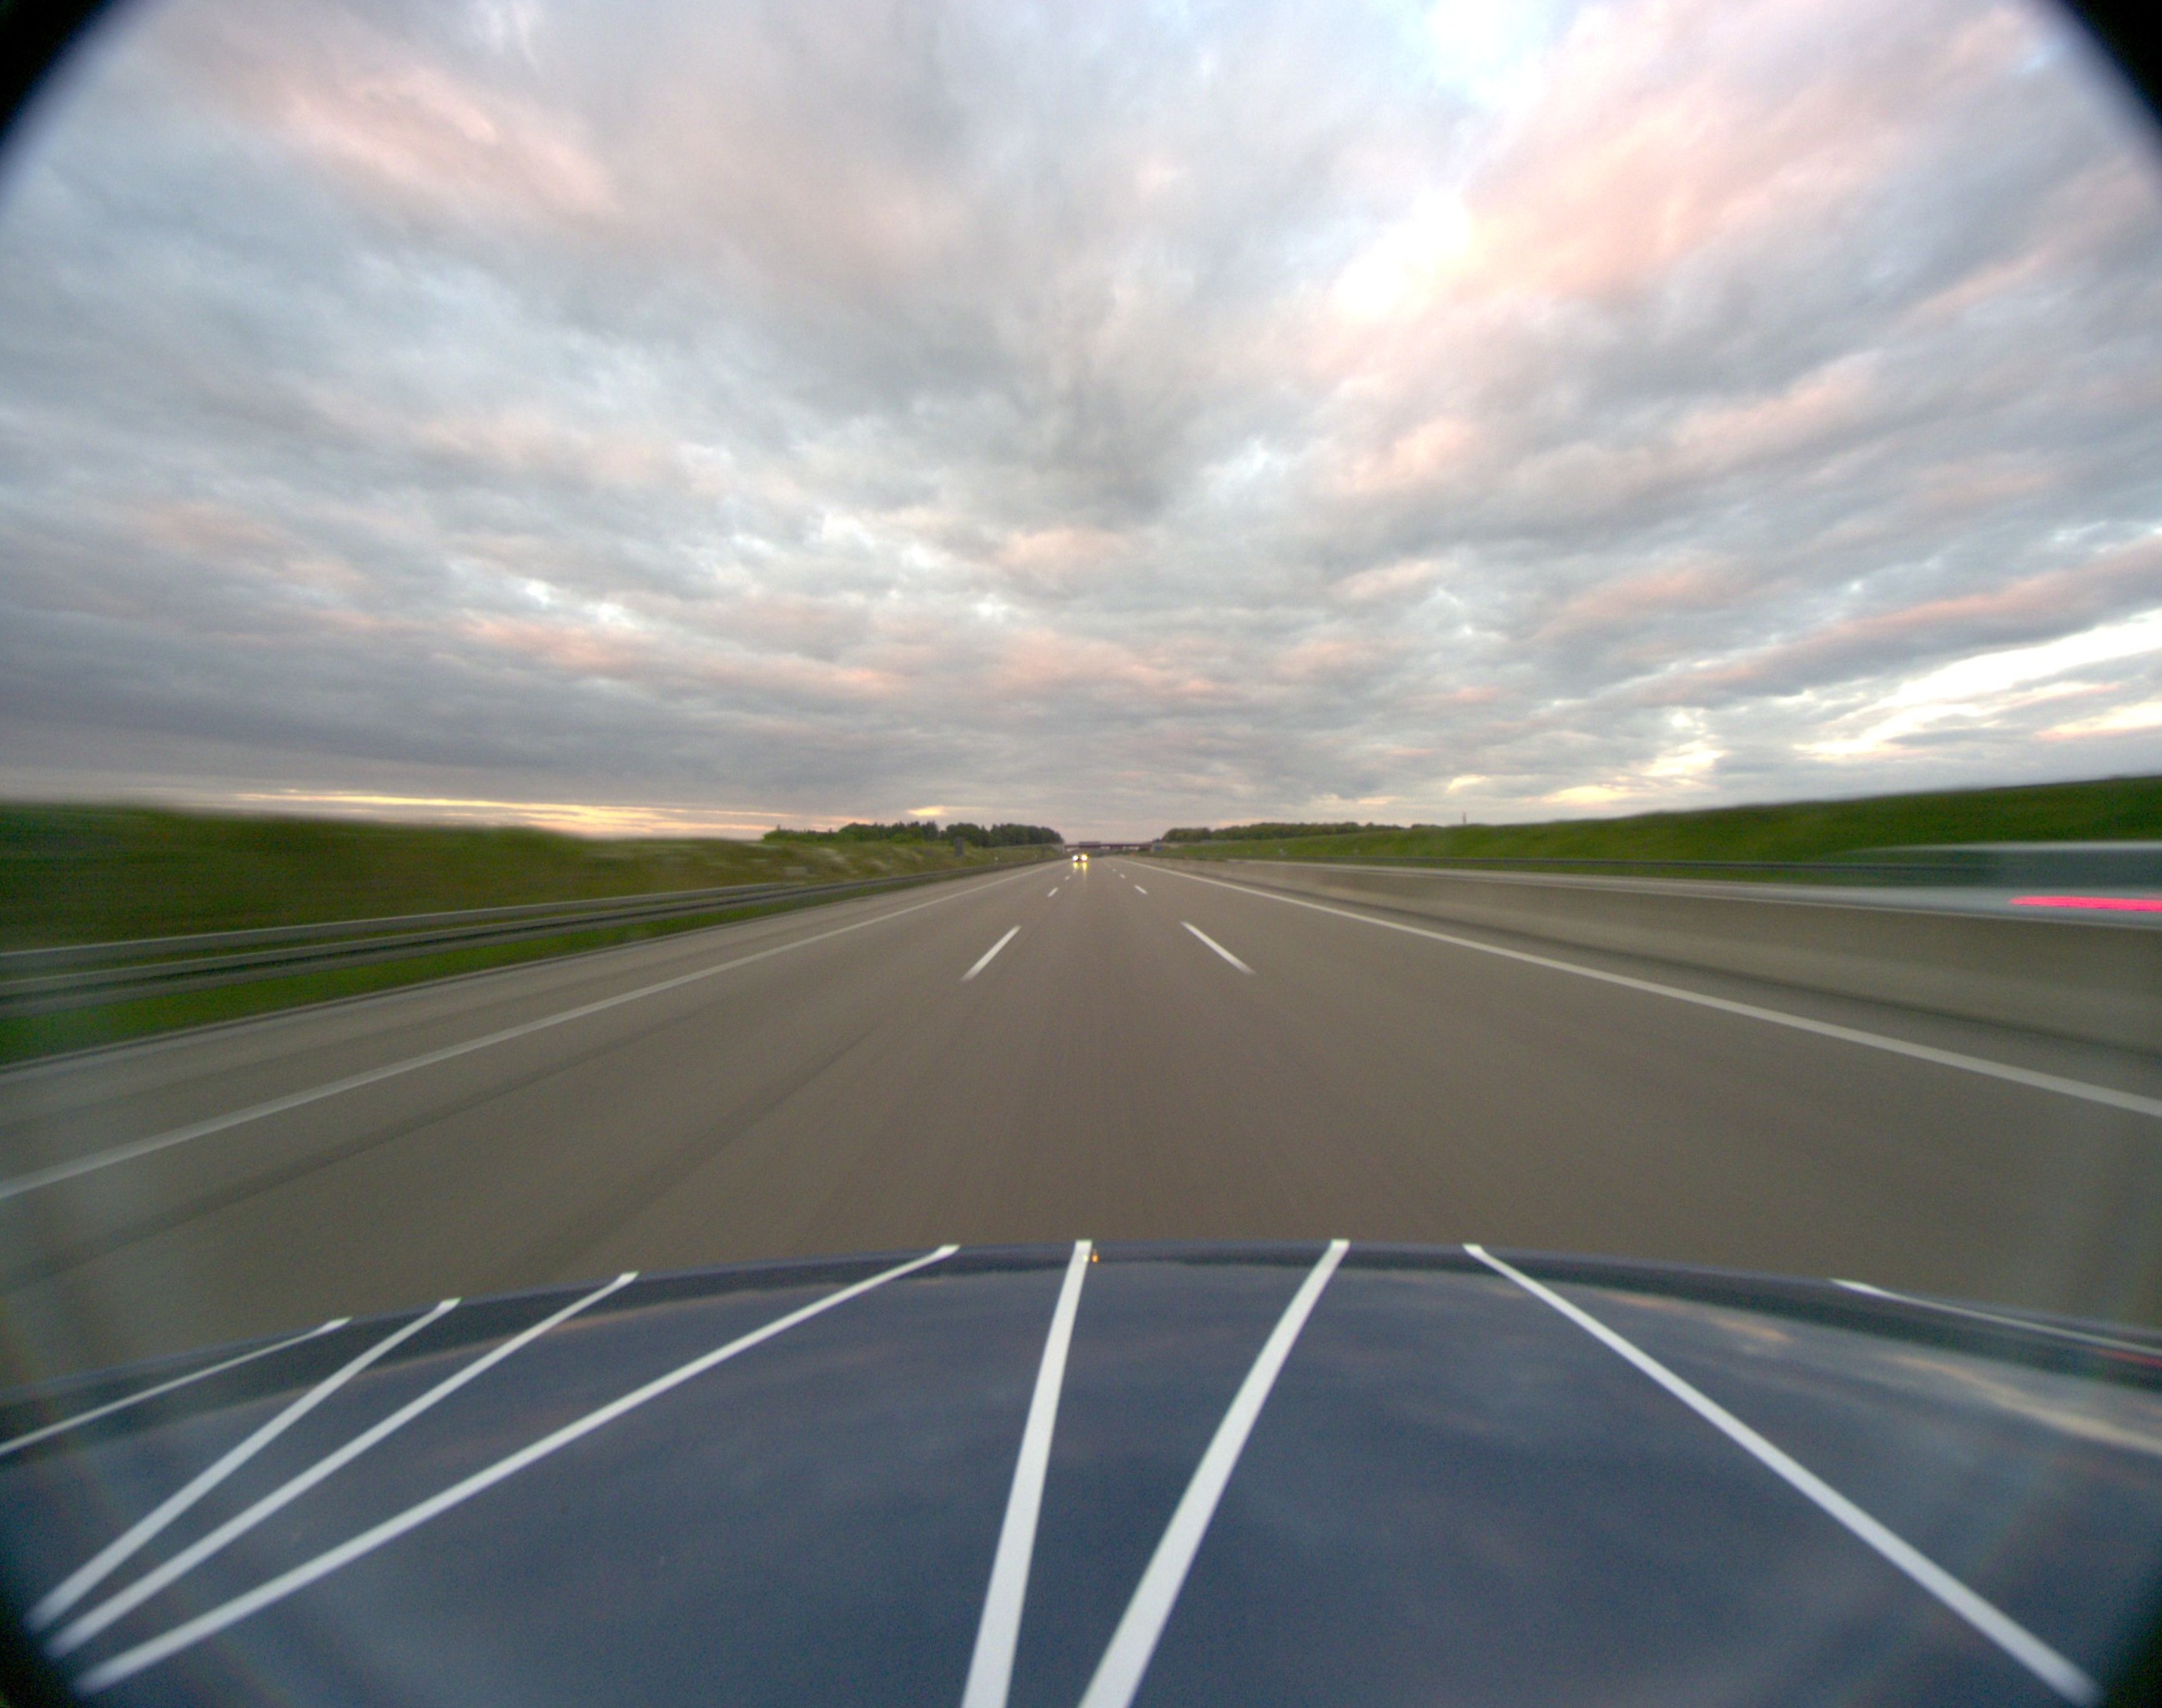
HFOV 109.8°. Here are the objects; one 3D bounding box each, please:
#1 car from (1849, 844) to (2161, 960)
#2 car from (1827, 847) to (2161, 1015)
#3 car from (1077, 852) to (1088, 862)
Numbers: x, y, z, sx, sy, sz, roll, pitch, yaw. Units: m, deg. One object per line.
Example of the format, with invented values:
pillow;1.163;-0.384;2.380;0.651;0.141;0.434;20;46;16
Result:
car;15.762;0.648;12.313;2.008;1.578;4.572;-1;0;0
car;11.414;0.741;8.431;1.753;1.588;4.643;-2;0;1
car;0.232;0.500;130.454;1.801;1.674;4.385;-1;1;1
